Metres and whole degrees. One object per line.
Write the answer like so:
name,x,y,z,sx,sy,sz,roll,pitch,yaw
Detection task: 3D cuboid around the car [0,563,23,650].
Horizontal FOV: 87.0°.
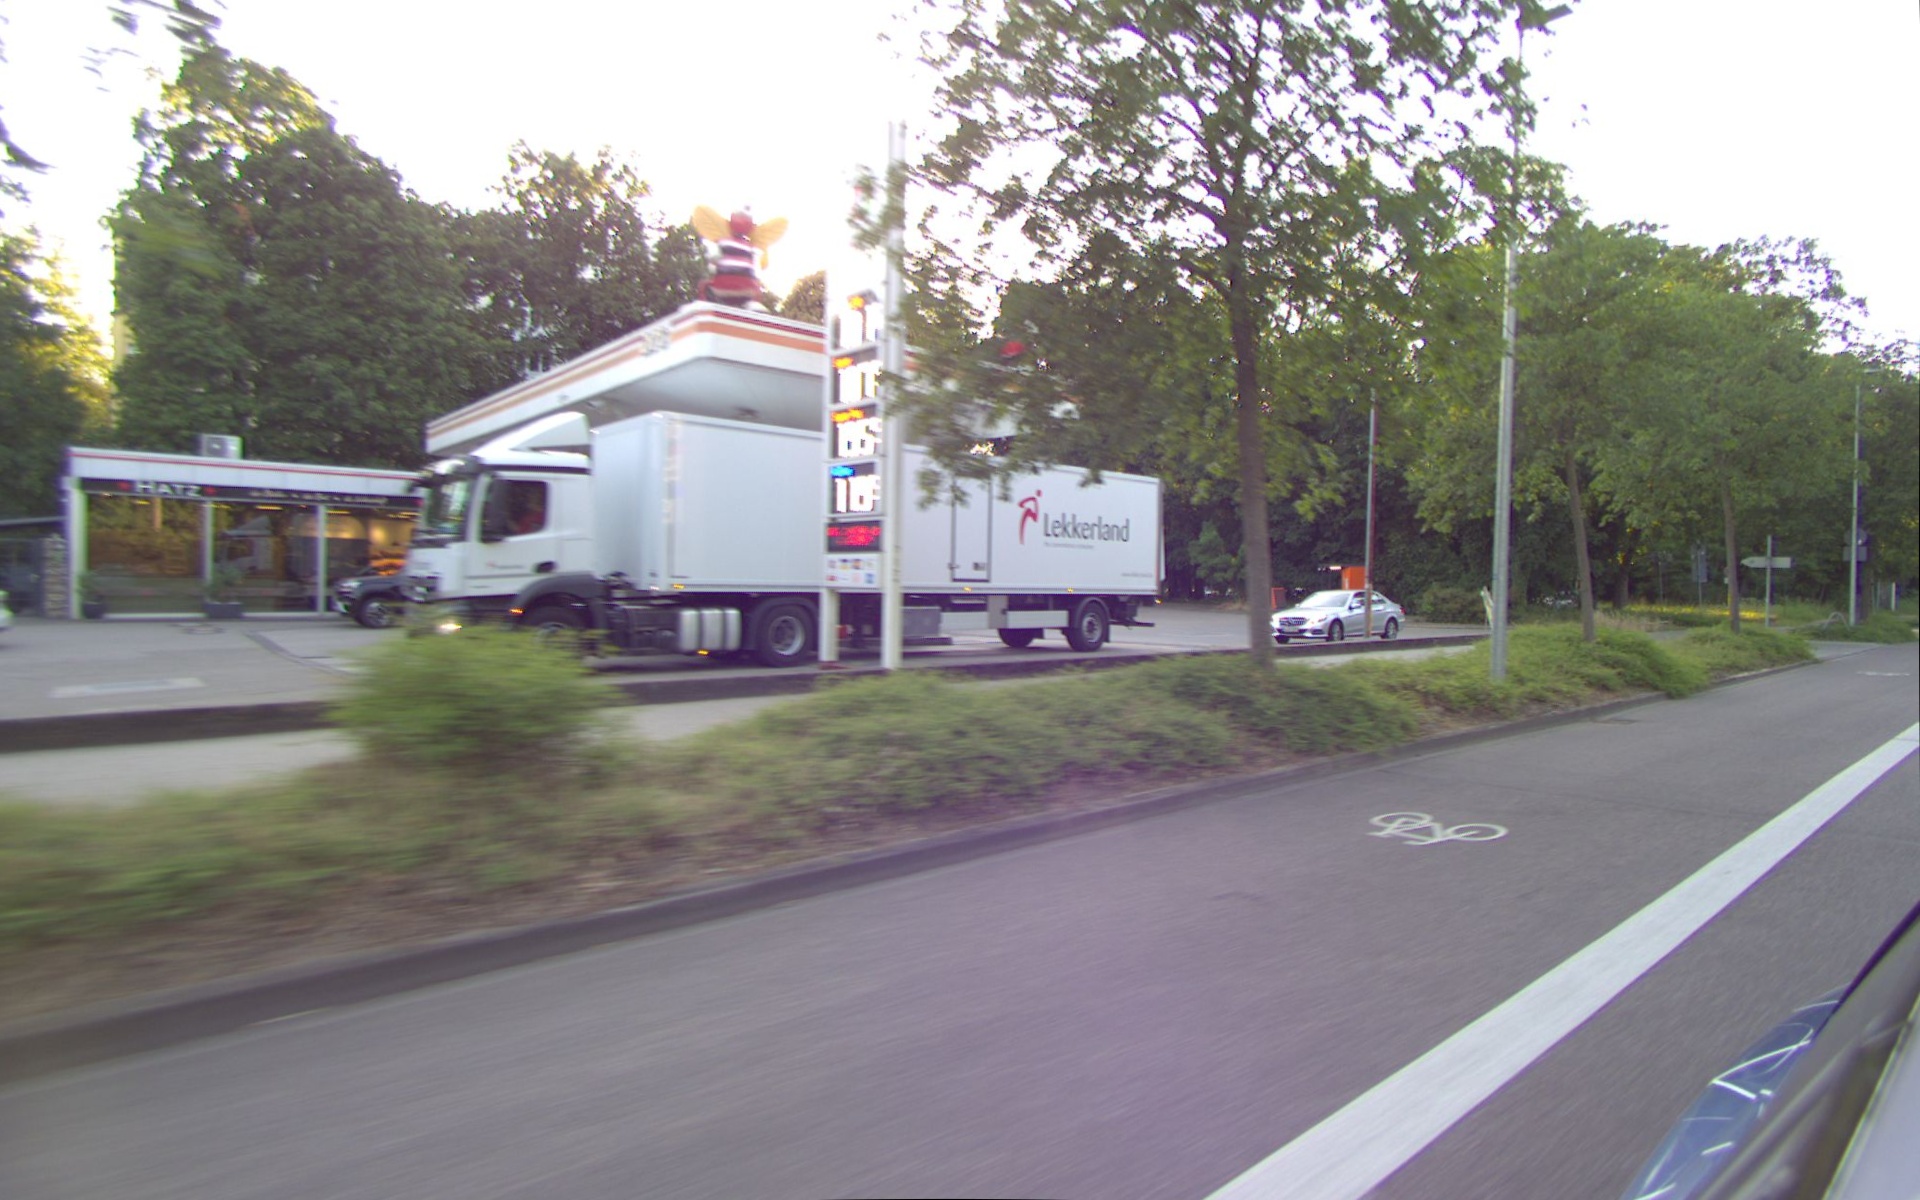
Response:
car,-19.751,0.108,17.722,4.605,1.537,1.794,0,3,-31

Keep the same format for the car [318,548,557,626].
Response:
car,-13.835,-0.373,27.032,5.404,1.888,1.952,-1,2,-40

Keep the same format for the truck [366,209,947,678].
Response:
truck,-4.243,-1.839,15.896,8.270,5.525,3.035,0,0,-44

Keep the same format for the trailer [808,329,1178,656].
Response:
trailer,0.969,-1.852,20.912,7.802,5.530,3.023,0,1,-44

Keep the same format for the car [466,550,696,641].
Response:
car,-8.646,-0.198,23.323,4.594,1.888,1.875,-2,3,-40

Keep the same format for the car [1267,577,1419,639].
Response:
car,10.799,0.195,28.382,4.730,1.603,1.774,0,0,-37
